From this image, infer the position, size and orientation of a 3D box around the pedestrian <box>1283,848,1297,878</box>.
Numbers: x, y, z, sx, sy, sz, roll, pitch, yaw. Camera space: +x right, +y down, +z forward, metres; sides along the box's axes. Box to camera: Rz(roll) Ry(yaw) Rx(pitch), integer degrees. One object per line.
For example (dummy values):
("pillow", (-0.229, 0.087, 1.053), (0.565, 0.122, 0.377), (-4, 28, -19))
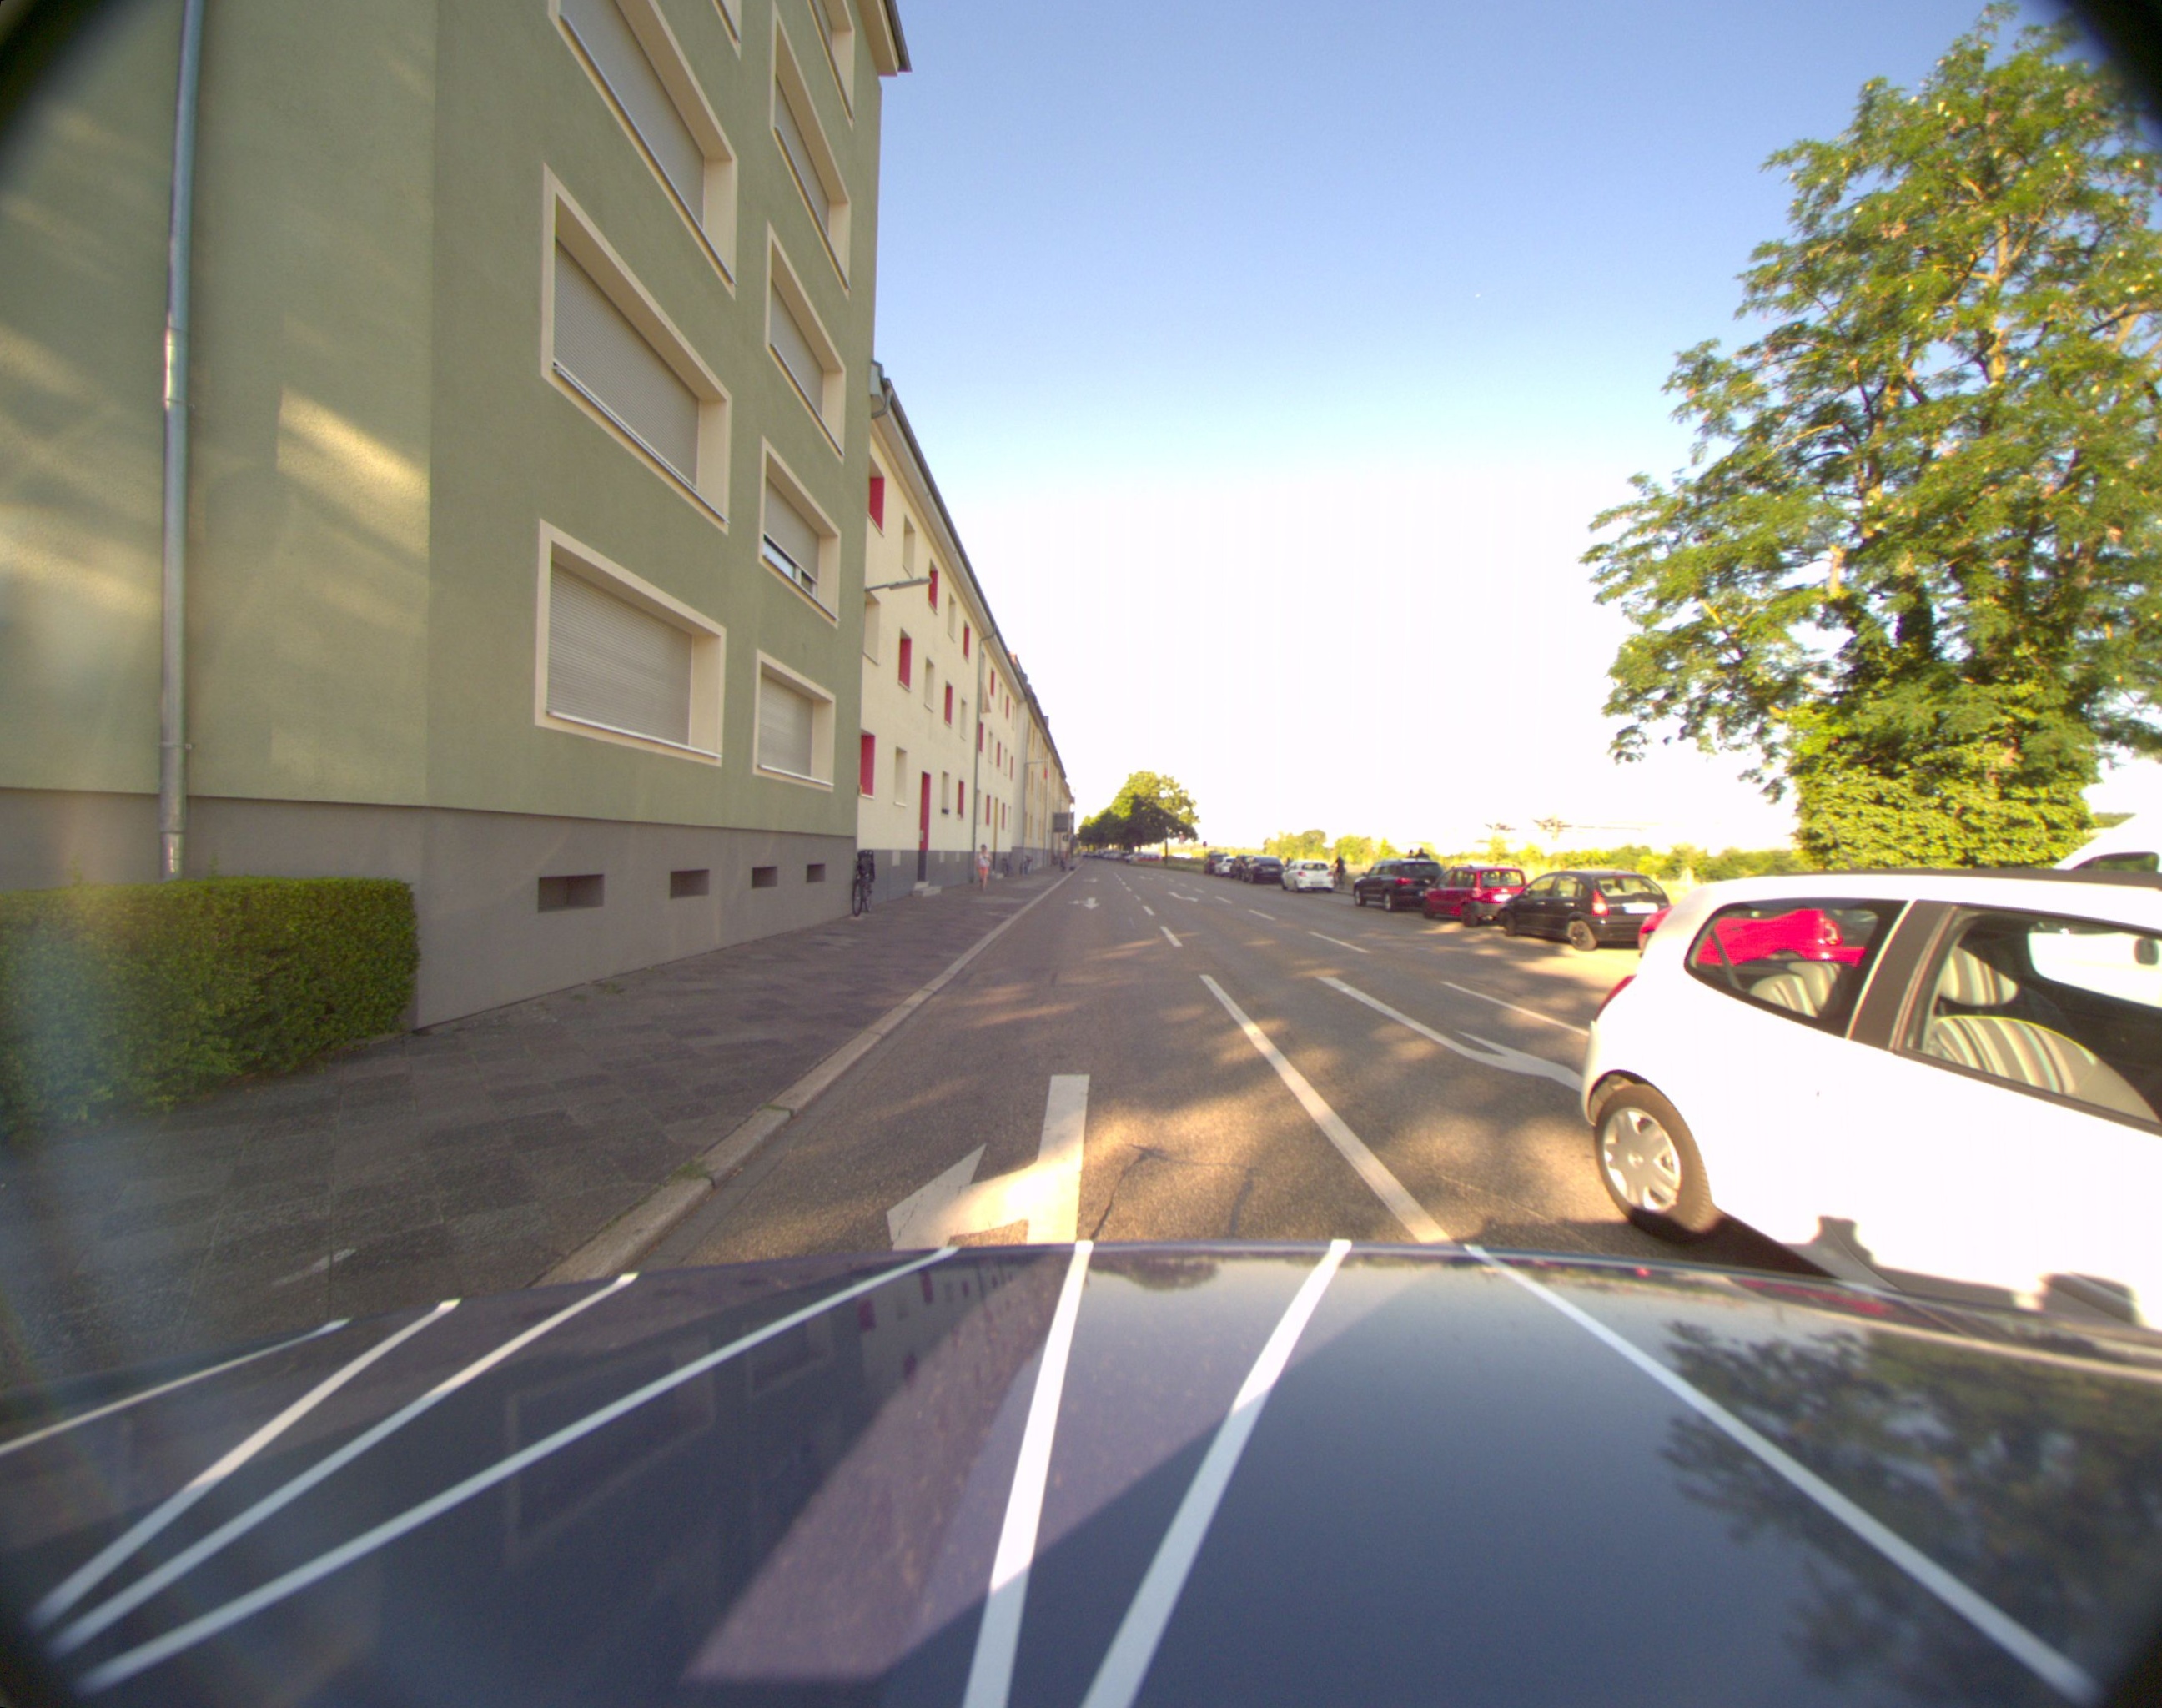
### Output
("pedestrian", (14.046, 0.591, 51.182), (0.706, 2.002, 0.710), (2, 1, 2))

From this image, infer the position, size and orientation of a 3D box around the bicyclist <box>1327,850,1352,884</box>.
("bicyclist", (12.279, 0.611, 36.131), (0.768, 1.587, 1.146), (2, 1, 2))

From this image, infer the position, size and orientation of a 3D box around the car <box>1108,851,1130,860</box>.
("car", (7.486, 0.250, 149.738), (3.997, 1.708, 2.000), (2, 1, -1))

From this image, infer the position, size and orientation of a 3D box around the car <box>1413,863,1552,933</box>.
("car", (10.261, 1.062, 19.733), (1.664, 1.521, 3.579), (2, 1, 0))

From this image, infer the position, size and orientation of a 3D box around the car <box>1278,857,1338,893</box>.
("car", (10.409, 0.919, 35.074), (1.706, 1.517, 3.583), (2, 1, 1))

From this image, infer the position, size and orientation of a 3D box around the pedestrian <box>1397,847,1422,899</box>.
("pedestrian", (13.090, 0.746, 30.313), (0.615, 2.002, 0.730), (2, 1, -1))

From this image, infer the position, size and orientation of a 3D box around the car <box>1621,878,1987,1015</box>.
("car", (10.066, 1.178, 11.047), (1.745, 1.478, 3.694), (2, 1, 0))

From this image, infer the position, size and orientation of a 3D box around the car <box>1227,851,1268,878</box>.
("car", (10.846, 0.680, 49.708), (1.823, 1.628, 4.220), (2, 1, 2))

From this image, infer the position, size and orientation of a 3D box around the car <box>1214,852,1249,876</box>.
("car", (10.853, 0.705, 55.101), (1.823, 1.565, 4.220), (2, 1, 2))

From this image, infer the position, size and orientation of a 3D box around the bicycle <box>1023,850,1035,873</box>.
("bicycle", (-3.164, 0.431, 46.311), (0.517, 1.318, 2.210), (2, 1, 2))

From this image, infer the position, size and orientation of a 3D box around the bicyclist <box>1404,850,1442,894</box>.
("bicyclist", (12.699, 0.665, 28.241), (0.866, 1.587, 1.146), (2, 1, 0))

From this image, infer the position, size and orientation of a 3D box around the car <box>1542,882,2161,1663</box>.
("car", (3.011, 0.894, 1.614), (1.705, 1.460, 3.775), (2, 1, -1))

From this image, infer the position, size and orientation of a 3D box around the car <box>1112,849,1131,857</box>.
("car", (9.194, -0.226, 173.169), (3.997, 1.708, 2.000), (2, 1, -1))

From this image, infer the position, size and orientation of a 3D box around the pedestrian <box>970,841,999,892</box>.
("pedestrian", (-3.334, 0.421, 26.301), (0.787, 1.697, 0.950), (3, 1, 1))

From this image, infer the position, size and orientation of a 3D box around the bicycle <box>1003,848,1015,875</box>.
("bicycle", (-3.934, 0.380, 41.379), (0.517, 1.404, 1.873), (2, 1, -3))

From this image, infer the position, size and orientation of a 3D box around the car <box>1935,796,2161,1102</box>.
("car", (9.686, 0.747, 4.824), (2.235, 2.422, 5.559), (-1, 1, -1))

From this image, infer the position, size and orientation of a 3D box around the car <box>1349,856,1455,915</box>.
("car", (10.140, 0.948, 24.353), (1.664, 1.649, 4.005), (2, 1, 0))

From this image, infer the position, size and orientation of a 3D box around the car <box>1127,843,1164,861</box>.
("car", (9.520, -0.301, 112.247), (5.322, 2.398, 2.266), (-2, 1, 0))

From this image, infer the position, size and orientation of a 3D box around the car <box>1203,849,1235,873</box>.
("car", (11.001, 0.521, 60.985), (1.890, 1.765, 4.220), (2, 1, 2))

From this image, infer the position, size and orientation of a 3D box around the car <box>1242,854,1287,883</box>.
("car", (10.570, 0.810, 44.008), (1.823, 1.517, 4.291), (2, 0, 5))

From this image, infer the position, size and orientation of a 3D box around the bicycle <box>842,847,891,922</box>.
("bicycle", (-4.311, 0.574, 15.375), (0.517, 1.404, 1.873), (2, 1, -3))

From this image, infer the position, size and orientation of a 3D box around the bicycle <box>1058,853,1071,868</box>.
("bicycle", (-1.249, 0.489, 56.846), (0.651, 1.091, 2.201), (1, 1, -8))

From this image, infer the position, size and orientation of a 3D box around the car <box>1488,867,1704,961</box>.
("car", (10.168, 1.104, 15.416), (1.745, 1.521, 3.816), (2, 1, 0))

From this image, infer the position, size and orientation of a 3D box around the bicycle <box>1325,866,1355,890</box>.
("bicycle", (12.300, 1.127, 36.174), (0.748, 1.084, 2.163), (2, 1, 3))
